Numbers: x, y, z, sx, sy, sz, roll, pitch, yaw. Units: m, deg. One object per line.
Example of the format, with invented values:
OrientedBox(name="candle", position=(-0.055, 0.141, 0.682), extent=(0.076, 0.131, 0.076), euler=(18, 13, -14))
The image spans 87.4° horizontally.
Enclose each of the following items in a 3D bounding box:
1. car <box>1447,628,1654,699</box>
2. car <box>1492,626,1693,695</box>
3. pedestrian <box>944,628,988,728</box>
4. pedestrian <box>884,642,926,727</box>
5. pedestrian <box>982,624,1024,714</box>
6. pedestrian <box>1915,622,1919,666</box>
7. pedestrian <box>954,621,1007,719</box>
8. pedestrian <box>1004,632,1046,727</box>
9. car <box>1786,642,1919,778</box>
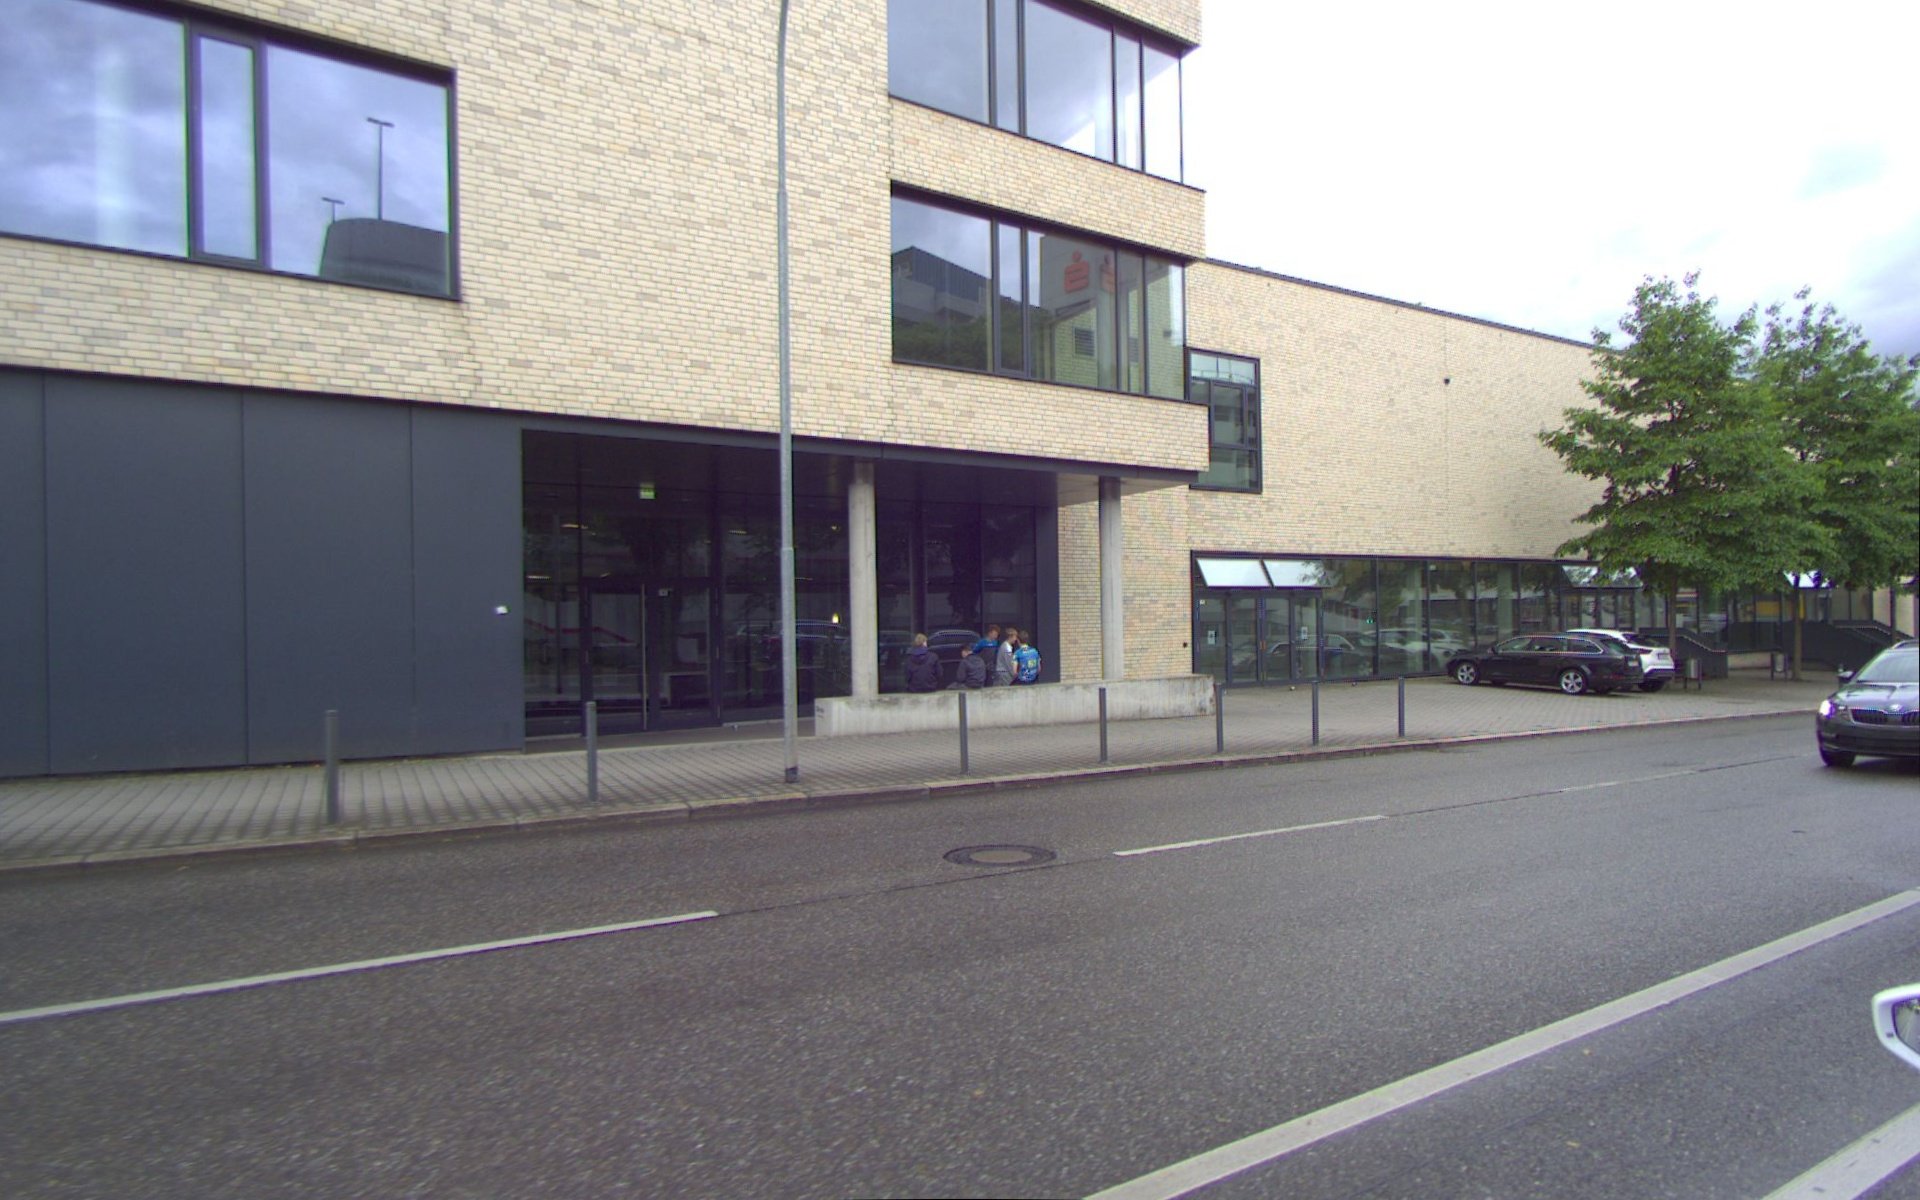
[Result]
OrientedBox(name="car", position=(15.049, 1.560, 25.788), extent=(1.981, 1.514, 4.147), euler=(2, 0, -36))
OrientedBox(name="car", position=(16.927, 1.564, 27.095), extent=(1.975, 1.568, 4.159), euler=(2, 0, -28))
OrientedBox(name="pedestrian", position=(0.095, 1.196, 15.569), extent=(0.459, 1.495, 0.446), euler=(2, 0, -35))
OrientedBox(name="pedestrian", position=(-0.837, 1.273, 15.251), extent=(0.416, 1.231, 0.546), euler=(2, 0, -27))
OrientedBox(name="pedestrian", position=(0.731, 1.178, 17.177), extent=(0.523, 1.495, 0.438), euler=(2, 0, -35))
OrientedBox(name="pedestrian", position=(37.758, 1.715, 39.115), extent=(1.009, 1.688, 0.638), euler=(2, 0, -36))
OrientedBox(name="pedestrian", position=(0.380, 1.266, 18.556), extent=(0.694, 1.737, 0.634), euler=(2, 0, 39))
OrientedBox(name="pedestrian", position=(1.056, 1.280, 16.375), extent=(0.459, 1.495, 0.446), euler=(2, 0, -35))
OrientedBox(name="car", position=(12.061, 1.270, 12.273), extent=(4.242, 1.481, 1.802), euler=(2, -4, -33))
